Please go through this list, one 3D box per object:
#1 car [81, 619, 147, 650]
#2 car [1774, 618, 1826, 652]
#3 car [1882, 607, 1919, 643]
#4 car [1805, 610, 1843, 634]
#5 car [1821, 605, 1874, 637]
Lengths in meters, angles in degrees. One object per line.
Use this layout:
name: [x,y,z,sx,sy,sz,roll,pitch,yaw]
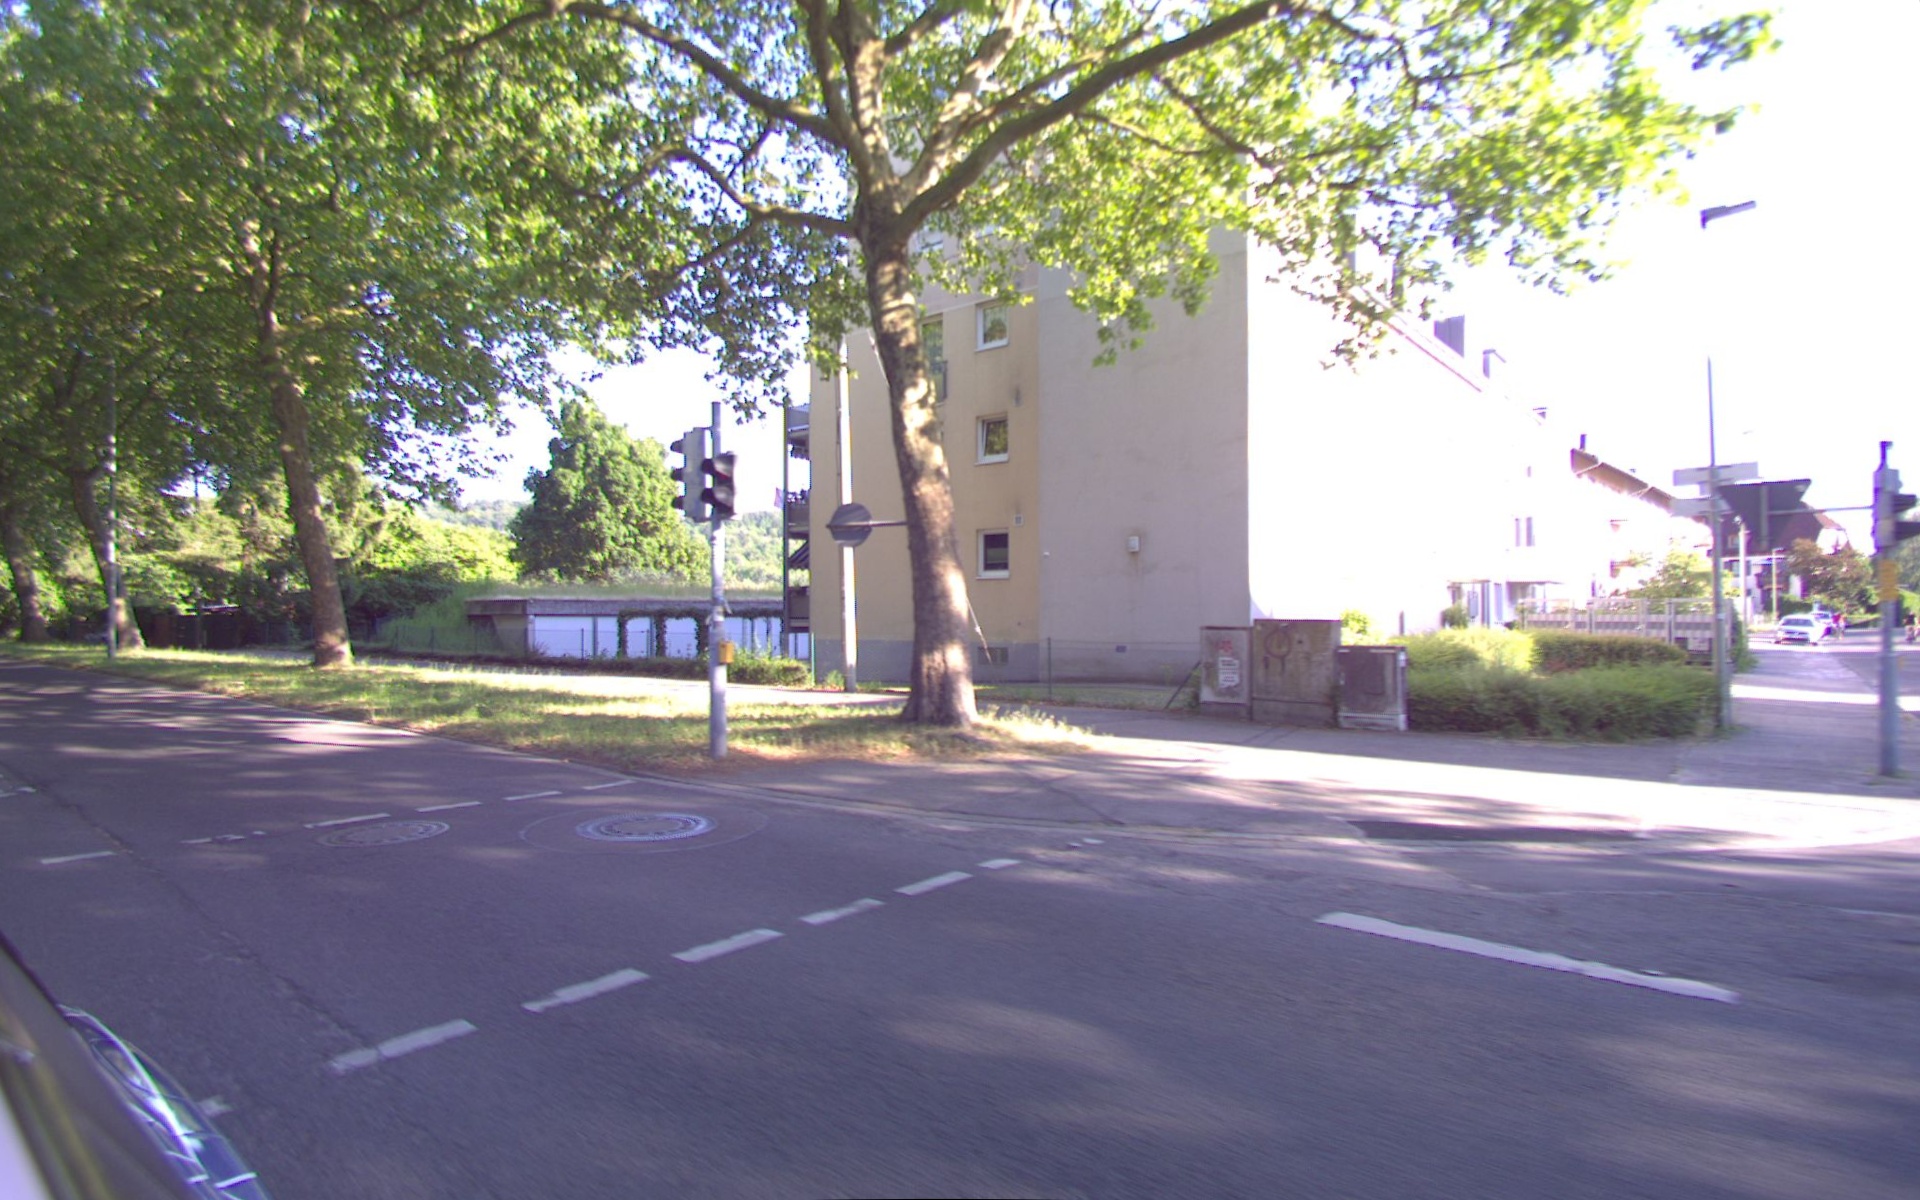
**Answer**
car: [-43.645,1.746,52.211,3.994,1.542,1.791,-1,-2,38]
car: [43.376,1.781,52.306,1.998,1.683,3.947,-2,-2,39]
car: [49.096,1.287,52.130,1.997,1.782,3.949,-2,-2,38]
car: [63.872,1.623,74.830,1.998,1.683,3.947,-2,-2,39]
car: [51.208,1.191,58.469,1.997,1.782,3.949,-2,-2,38]
